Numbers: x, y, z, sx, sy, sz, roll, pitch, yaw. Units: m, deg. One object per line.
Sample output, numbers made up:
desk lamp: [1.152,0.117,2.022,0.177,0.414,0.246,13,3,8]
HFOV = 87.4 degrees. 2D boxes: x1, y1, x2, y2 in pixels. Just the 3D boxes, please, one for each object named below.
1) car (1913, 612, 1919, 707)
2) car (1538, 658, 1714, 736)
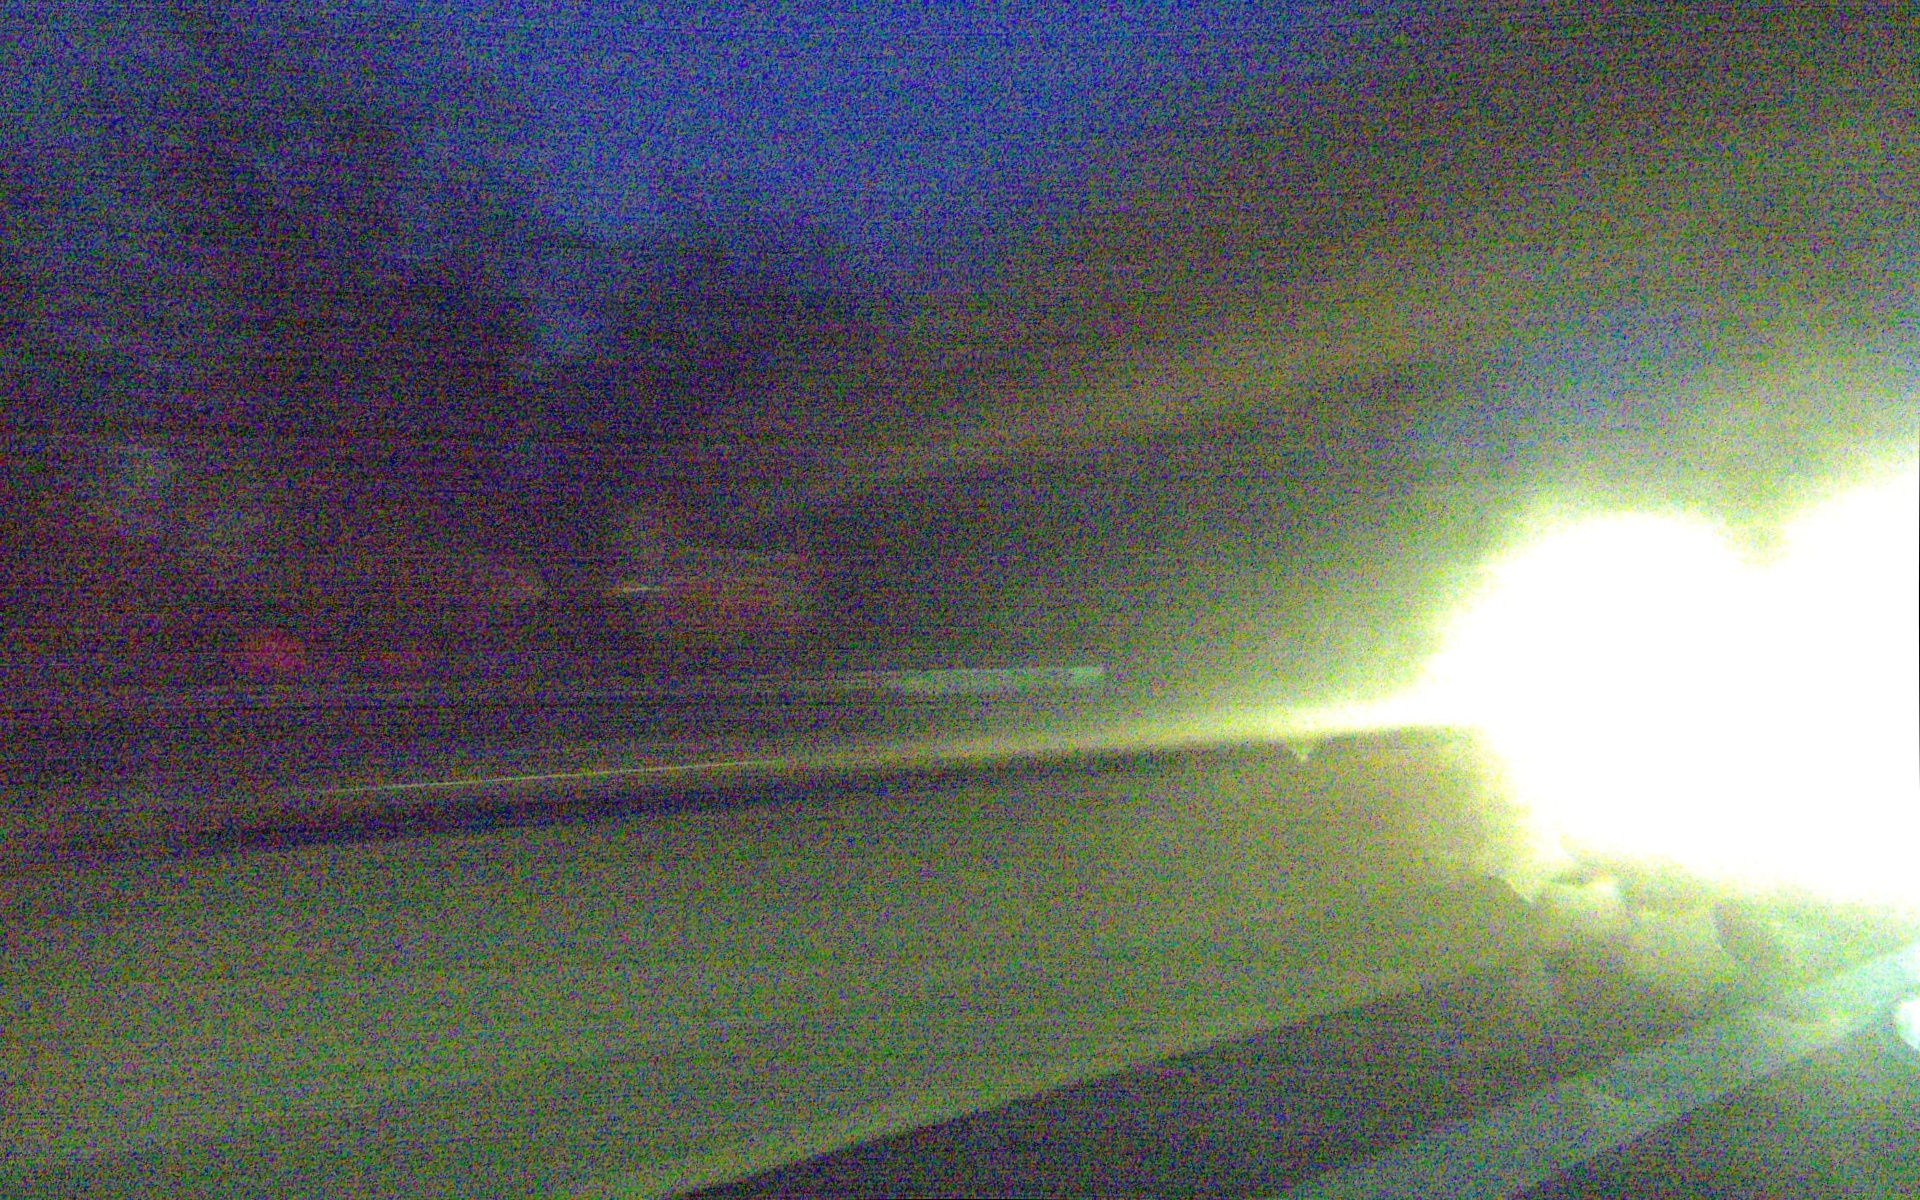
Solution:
car: [22.902,1.338,22.078,4.332,2.040,1.775,2,0,-32]
car: [15.670,2.193,23.577,4.332,1.546,1.775,2,0,-32]
